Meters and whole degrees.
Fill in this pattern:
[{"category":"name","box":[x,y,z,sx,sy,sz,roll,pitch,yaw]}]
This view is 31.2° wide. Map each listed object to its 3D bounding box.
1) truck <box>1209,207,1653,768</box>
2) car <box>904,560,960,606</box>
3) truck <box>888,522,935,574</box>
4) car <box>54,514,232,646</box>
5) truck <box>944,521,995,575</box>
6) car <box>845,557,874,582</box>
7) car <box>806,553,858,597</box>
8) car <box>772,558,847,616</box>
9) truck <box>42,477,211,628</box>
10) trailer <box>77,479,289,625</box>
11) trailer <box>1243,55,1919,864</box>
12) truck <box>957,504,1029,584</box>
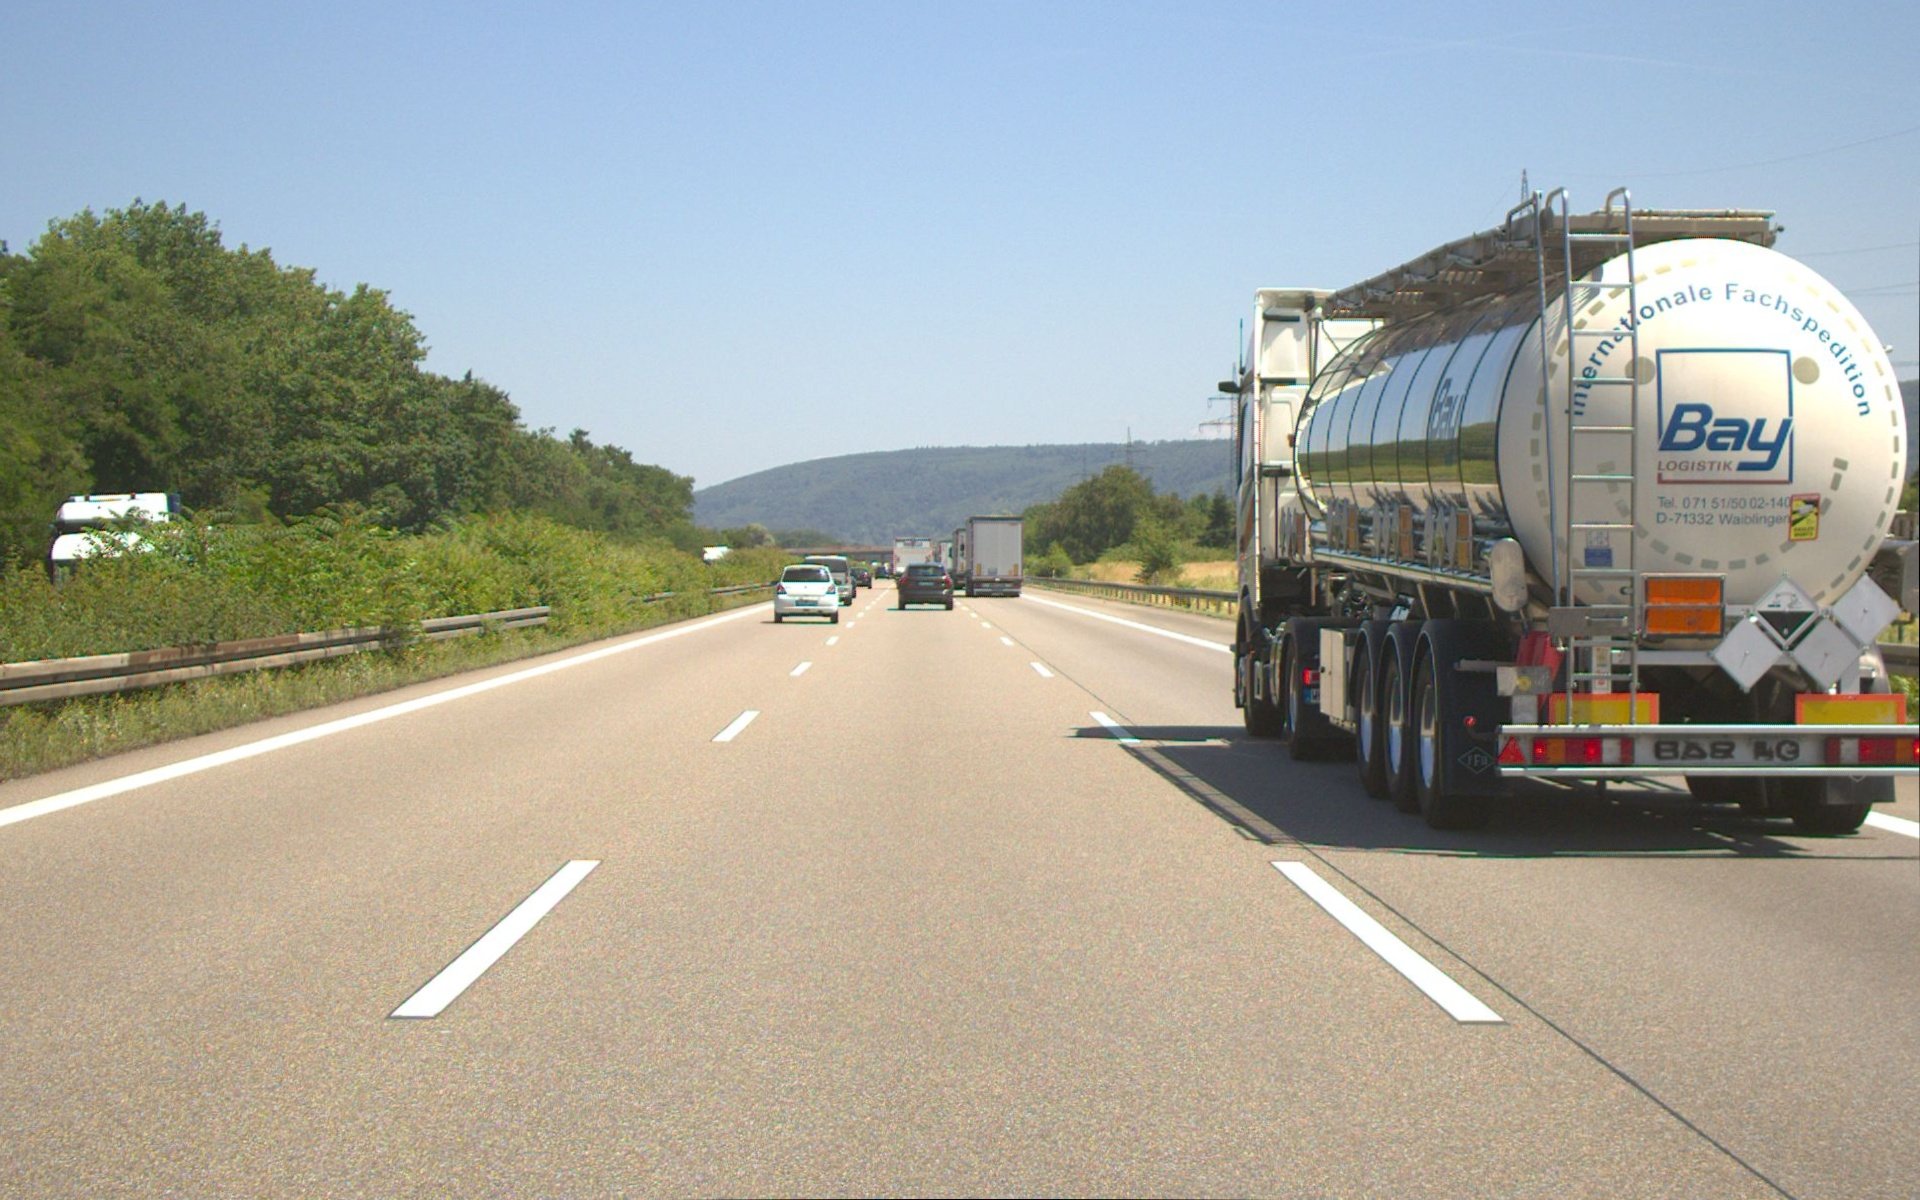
[{"category":"truck","box":[3.683,-0.875,28.388,2.573,4.058,6.393,1,1,-1]},{"category":"car","box":[-0.976,-0.617,118.781,1.885,1.510,4.000,1,1,-1]},{"category":"truck","box":[-3.374,-3.585,236.639,3.097,3.463,11.543,1,1,-1]},{"category":"car","box":[-16.927,-0.474,71.597,2.302,2.393,6.520,1,3,-2]},{"category":"truck","box":[0.586,-3.527,232.040,3.097,3.463,11.543,1,1,-1]},{"category":"car","box":[-6.783,-2.077,231.623,1.852,1.627,4.000,1,1,-1]},{"category":"car","box":[-4.851,-0.960,130.546,1.852,1.627,4.000,1,1,-1]},{"category":"car","box":[-3.947,-0.358,90.557,1.806,1.463,4.000,1,1,-1]},{"category":"truck","box":[-21.408,-1.233,88.668,2.591,3.693,6.827,1,1,1]},{"category":"trailer","box":[-21.344,-1.335,95.347,2.591,3.693,13.688,1,1,1]},{"category":"trailer","box":[3.793,-0.792,23.009,2.580,4.060,11.104,1,1,-1]},{"category":"truck","box":[1.616,-2.828,174.062,3.265,3.844,11.632,1,1,-1]}]
